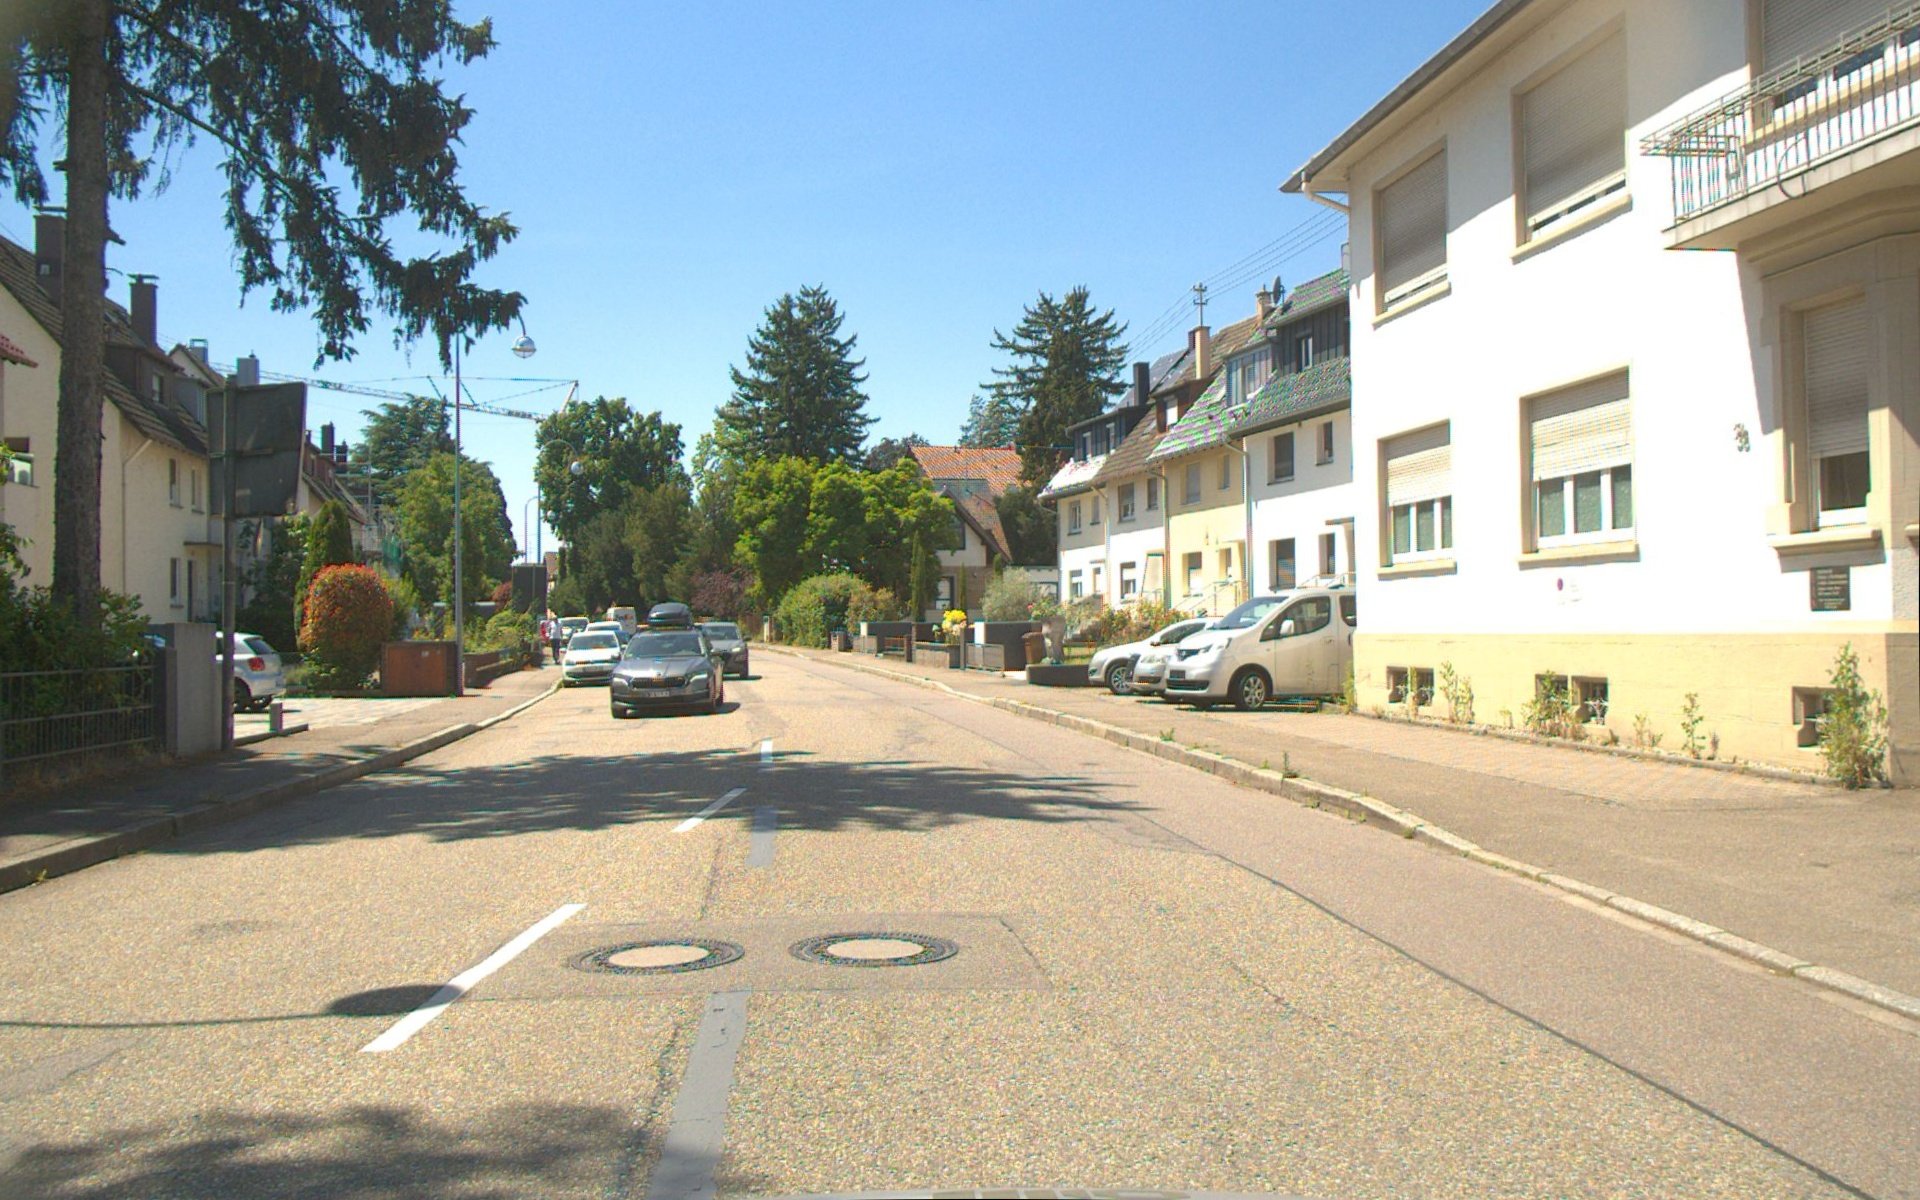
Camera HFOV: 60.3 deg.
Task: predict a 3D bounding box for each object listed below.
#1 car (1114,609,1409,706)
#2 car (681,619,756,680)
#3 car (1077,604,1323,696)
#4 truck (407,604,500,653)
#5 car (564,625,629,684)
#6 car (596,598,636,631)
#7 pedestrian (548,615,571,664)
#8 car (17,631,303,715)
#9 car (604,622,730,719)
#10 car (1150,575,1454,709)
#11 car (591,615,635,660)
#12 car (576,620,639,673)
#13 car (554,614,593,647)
[{"bbox_3d":[5.024,0.952,27.823,4.552,1.433,1.766,2,-1,-8],"label":"car"},{"bbox_3d":[-6.704,1.342,46.243,1.706,1.531,4.139,-3,0,-4],"label":"car"},{"bbox_3d":[4.471,0.917,30.798,4.204,1.575,1.755,1,-2,23],"label":"car"},{"bbox_3d":[-21.811,1.208,71.363,3.705,1.971,1.540,-2,0,-14],"label":"truck"},{"bbox_3d":[-10.053,1.482,45.963,1.550,1.448,3.930,-3,0,-10],"label":"car"},{"bbox_3d":[-26.323,1.089,126.449,2.114,2.356,4.820,-3,0,-22],"label":"car"},{"bbox_3d":[-16.150,1.611,66.765,0.676,1.923,1.017,4,-2,-7],"label":"pedestrian"},{"bbox_3d":[-14.715,1.322,30.633,4.382,1.466,1.844,0,-1,-6],"label":"car"},{"bbox_3d":[-5.164,1.193,29.638,1.771,1.514,4.382,-3,0,-5],"label":"car"},{"bbox_3d":[5.216,0.650,25.310,4.222,1.863,1.731,2,-1,-17],"label":"car"},{"bbox_3d":[-14.870,1.588,70.713,1.693,1.766,3.874,-3,0,-13],"label":"car"},{"bbox_3d":[-11.060,1.431,52.054,1.737,1.464,4.351,-3,0,-10],"label":"car"},{"bbox_3d":[-23.836,1.878,101.846,1.857,1.914,4.954,-2,0,-18],"label":"car"}]
